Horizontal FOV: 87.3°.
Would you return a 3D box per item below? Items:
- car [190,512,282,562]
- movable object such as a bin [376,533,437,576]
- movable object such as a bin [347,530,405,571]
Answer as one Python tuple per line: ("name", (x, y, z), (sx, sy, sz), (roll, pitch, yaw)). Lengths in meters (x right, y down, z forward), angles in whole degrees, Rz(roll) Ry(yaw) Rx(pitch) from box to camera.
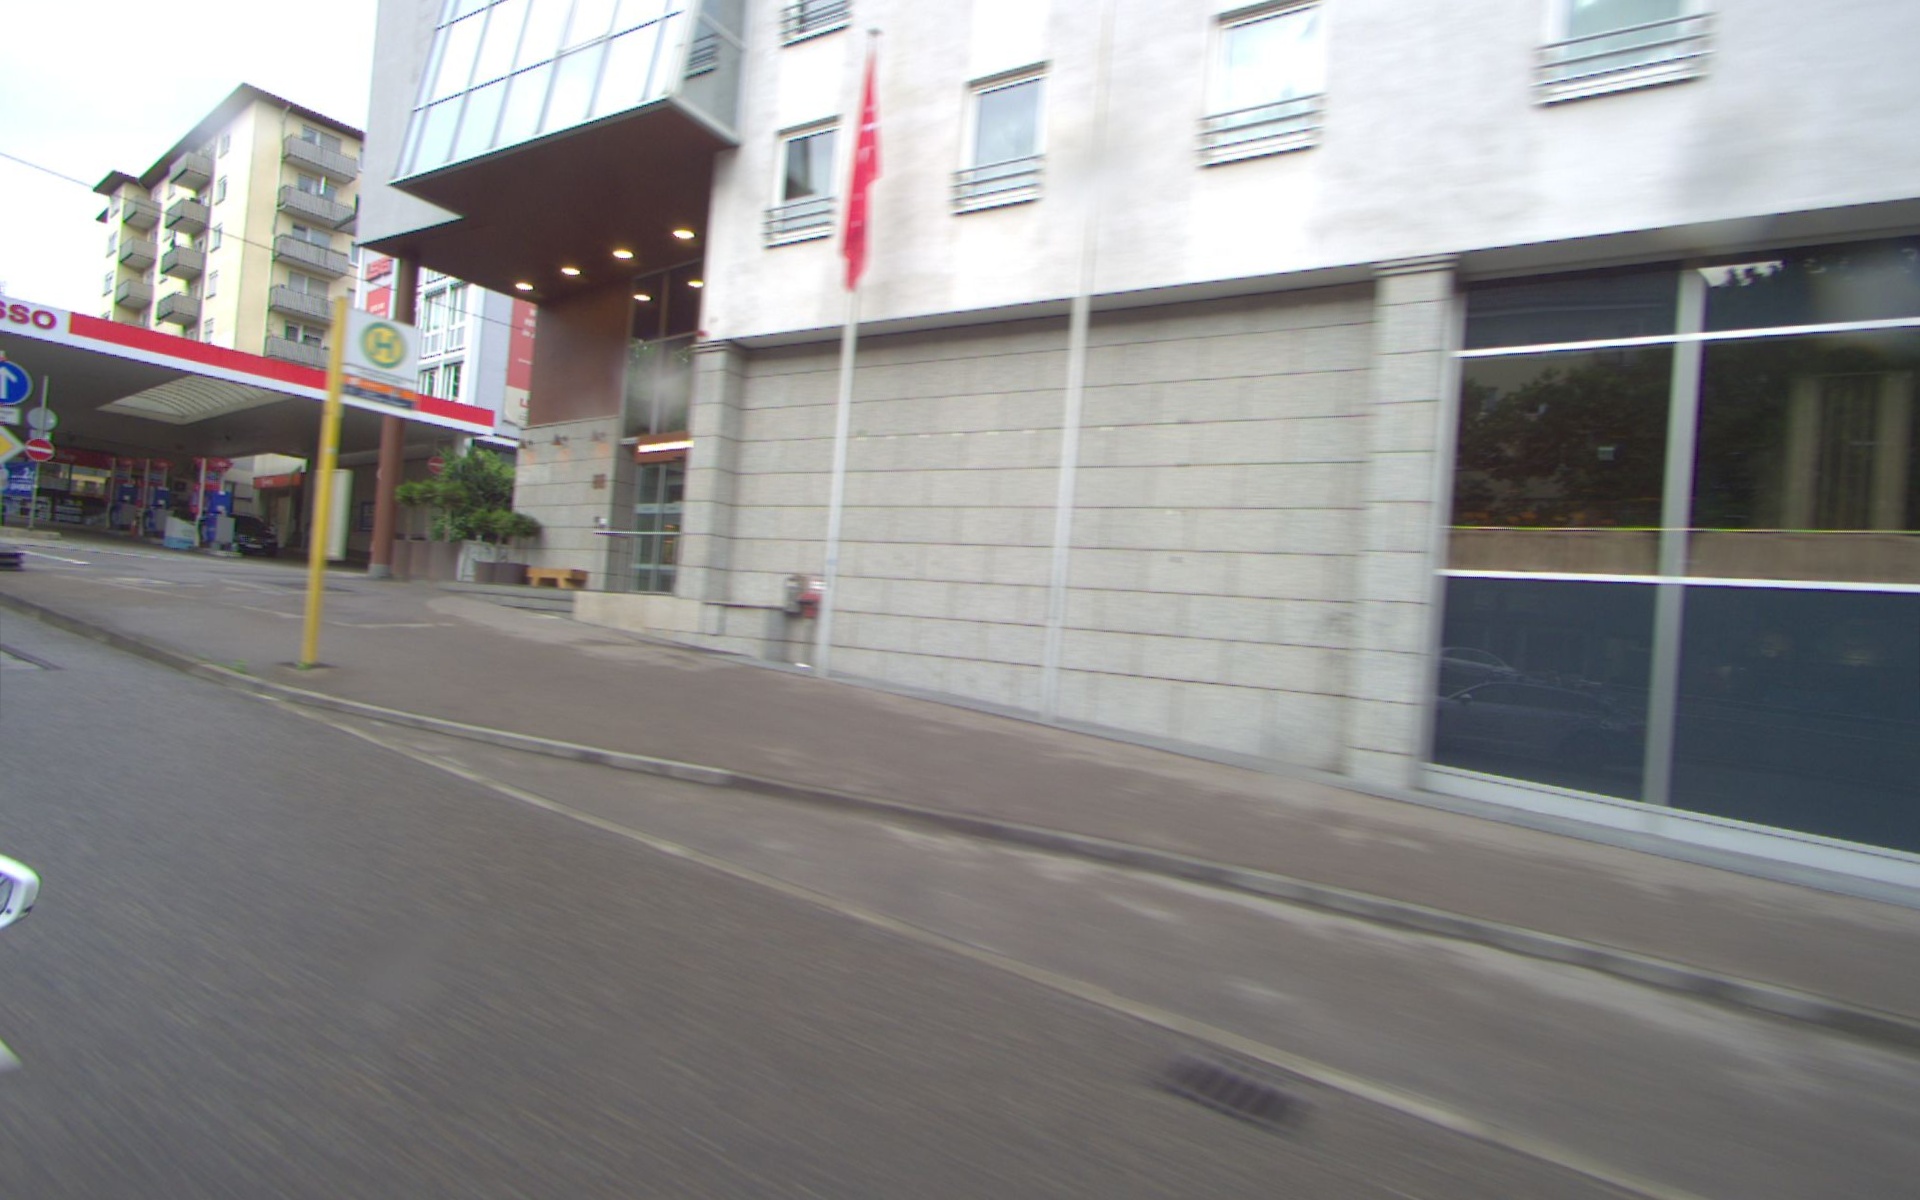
("car", (-27.914, -2.436, 38.754), (3.943, 1.527, 1.794), (5, -4, 39))
("movable object such as a bin", (-21.999, -1.814, 39.979), (2.471, 1.443, 1.162), (6, 0, 39))
("movable object such as a bin", (-24.293, -2.060, 41.832), (2.471, 1.443, 1.162), (6, 0, 39))
